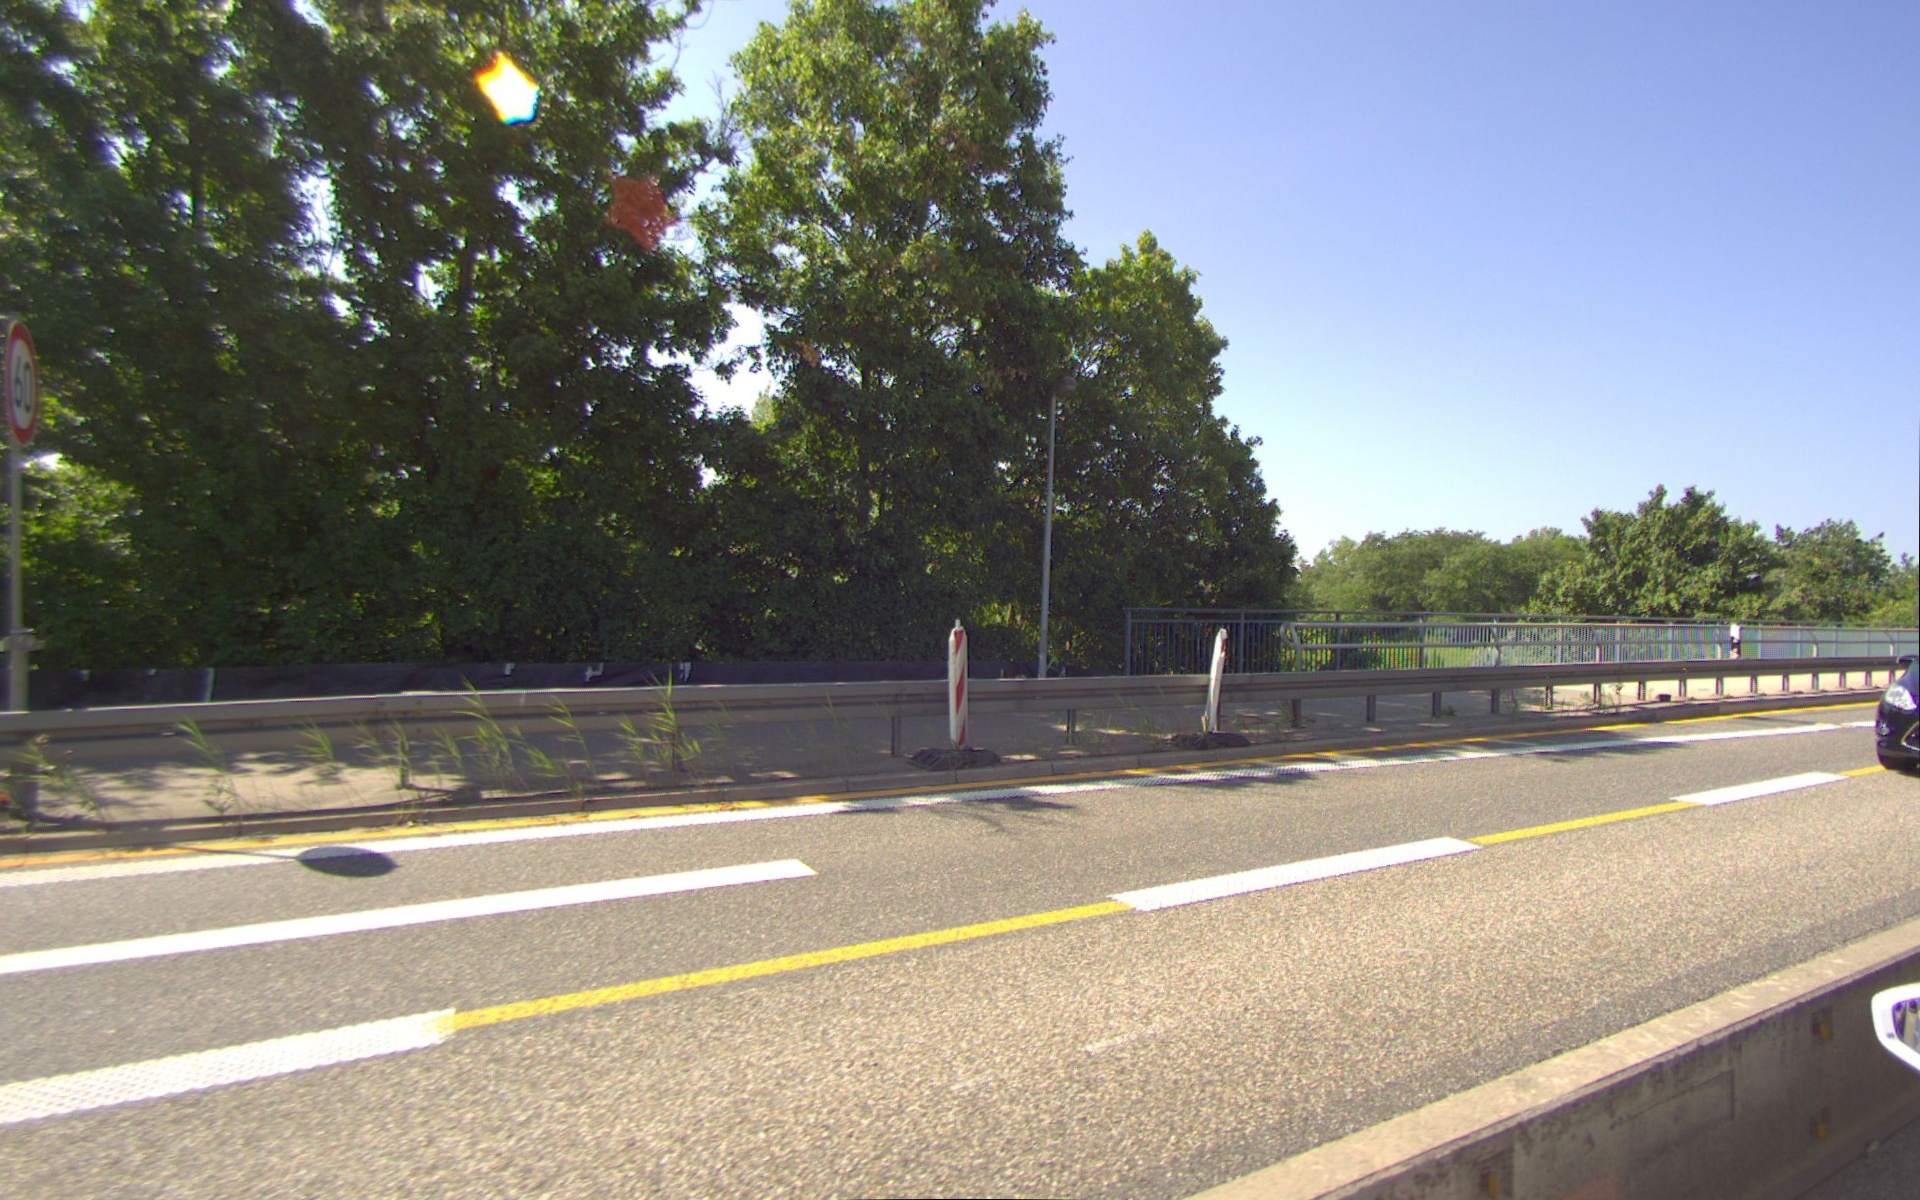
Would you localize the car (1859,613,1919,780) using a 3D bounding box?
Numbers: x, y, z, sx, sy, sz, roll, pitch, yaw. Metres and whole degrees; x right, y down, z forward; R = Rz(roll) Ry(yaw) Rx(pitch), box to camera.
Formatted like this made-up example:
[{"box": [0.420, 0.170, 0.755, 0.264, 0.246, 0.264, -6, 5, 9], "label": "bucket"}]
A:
[{"box": [10.919, 0.950, 10.077, 3.896, 1.572, 1.730, 1, 0, -30], "label": "car"}]
